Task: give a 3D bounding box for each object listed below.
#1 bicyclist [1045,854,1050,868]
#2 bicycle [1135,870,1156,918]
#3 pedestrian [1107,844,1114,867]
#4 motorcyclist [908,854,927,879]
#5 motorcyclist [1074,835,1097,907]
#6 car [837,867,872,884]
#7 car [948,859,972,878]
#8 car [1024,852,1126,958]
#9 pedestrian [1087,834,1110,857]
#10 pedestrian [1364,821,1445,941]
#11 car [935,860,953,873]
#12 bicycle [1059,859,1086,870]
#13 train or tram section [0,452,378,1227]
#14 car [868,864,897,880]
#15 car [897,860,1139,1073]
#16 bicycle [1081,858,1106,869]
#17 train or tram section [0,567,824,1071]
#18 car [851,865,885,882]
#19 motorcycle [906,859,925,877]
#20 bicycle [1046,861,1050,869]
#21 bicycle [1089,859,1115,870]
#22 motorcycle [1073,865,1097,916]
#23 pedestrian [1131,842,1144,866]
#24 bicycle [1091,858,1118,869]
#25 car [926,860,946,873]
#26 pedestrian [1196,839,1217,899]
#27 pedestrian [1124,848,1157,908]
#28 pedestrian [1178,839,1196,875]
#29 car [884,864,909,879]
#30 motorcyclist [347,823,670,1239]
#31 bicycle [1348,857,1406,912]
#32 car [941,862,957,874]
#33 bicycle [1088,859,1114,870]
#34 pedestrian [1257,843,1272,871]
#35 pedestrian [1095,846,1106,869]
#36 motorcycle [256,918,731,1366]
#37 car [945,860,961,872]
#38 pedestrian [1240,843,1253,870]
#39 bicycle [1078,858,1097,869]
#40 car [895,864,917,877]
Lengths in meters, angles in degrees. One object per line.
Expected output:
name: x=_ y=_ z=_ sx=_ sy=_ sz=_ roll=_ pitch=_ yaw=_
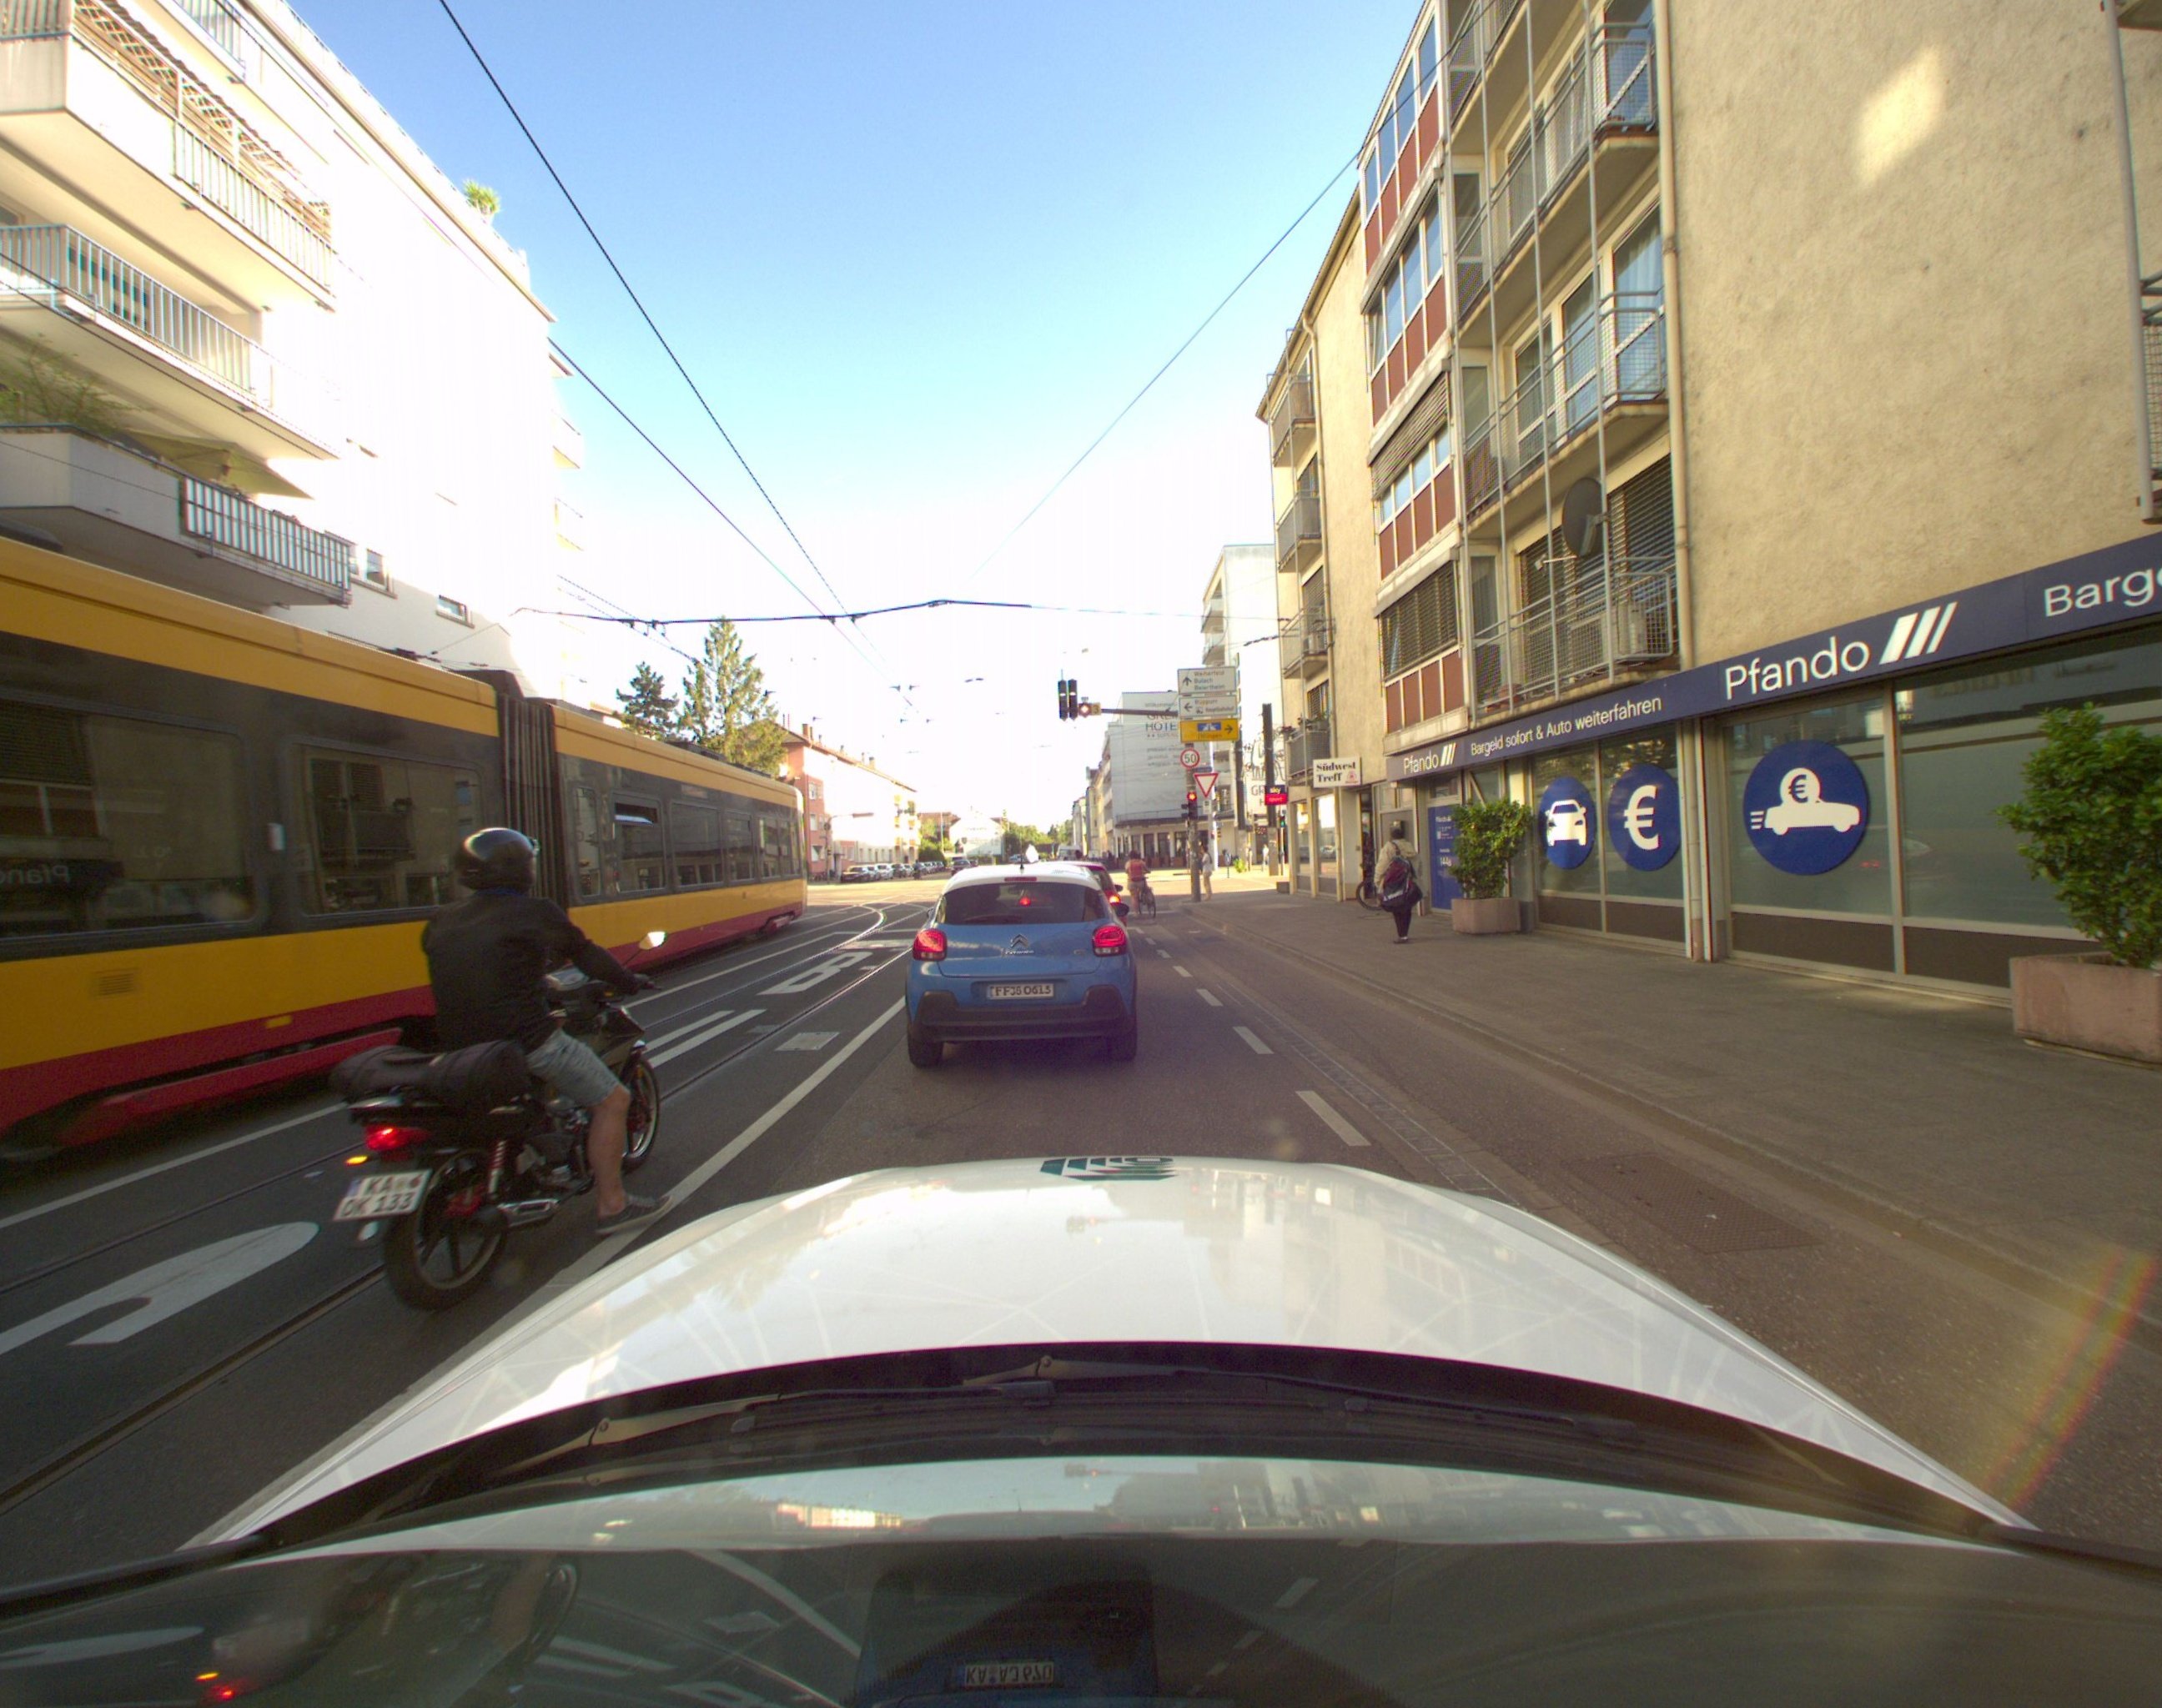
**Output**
bicyclist: x=-3.726 y=0.783 z=90.816 sx=0.560 sy=1.477 sz=0.747 roll=0 pitch=-1 yaw=-4
bicycle: x=1.614 y=0.976 z=20.578 sx=0.426 sy=1.123 sz=1.999 roll=0 pitch=-1 yaw=2
pedestrian: x=2.549 y=0.144 z=70.395 sx=0.575 sy=2.014 sz=0.625 roll=0 pitch=-1 yaw=-1
motorcyclist: x=-13.608 y=1.066 z=67.780 sx=1.182 sy=2.013 sz=1.275 roll=-2 pitch=0 yaw=-1
motorcyclist: x=0.121 y=0.403 z=19.759 sx=0.524 sy=1.716 sz=0.717 roll=0 pitch=-1 yaw=2
car: x=-19.276 y=1.814 z=69.420 sx=1.787 sy=1.421 sz=3.996 roll=0 pitch=-1 yaw=1
car: x=-11.366 y=1.342 z=76.854 sx=1.770 sy=1.666 sz=3.854 roll=0 pitch=-1 yaw=-2
car: x=-0.038 y=0.753 z=13.243 sx=1.419 sy=1.467 sz=2.925 roll=-2 pitch=-1 yaw=2
pedestrian: x=1.633 y=-0.728 z=73.699 sx=1.986 sy=2.014 sz=4.001 roll=0 pitch=-1 yaw=2
pedestrian: x=4.444 y=0.365 z=11.233 sx=0.822 sy=1.593 sz=0.751 roll=0 pitch=-1 yaw=1
car: x=-18.856 y=1.681 z=111.992 sx=1.877 sy=1.687 sz=3.998 roll=0 pitch=-1 yaw=-1
bicycle: x=-0.705 y=0.877 z=66.379 sx=2.130 sy=0.901 sz=0.366 roll=0 pitch=-1 yaw=-7
train or tram section: x=-6.387 y=-0.075 z=1.341 sx=2.818 sy=3.631 sz=9.076 roll=0 pitch=0 yaw=-2
car: x=-19.425 y=1.743 z=79.937 sx=1.781 sy=1.511 sz=4.150 roll=0 pitch=-1 yaw=1
car: x=-0.375 y=0.781 z=7.308 sx=1.648 sy=1.444 sz=3.524 roll=0 pitch=-1 yaw=2
bicycle: x=1.053 y=0.820 z=68.494 sx=2.130 sy=0.901 sz=0.366 roll=0 pitch=-1 yaw=-7
train or tram section: x=-7.101 y=-0.206 z=13.106 sx=2.741 sy=3.632 sz=14.235 roll=0 pitch=0 yaw=-6
car: x=-19.367 y=1.784 z=74.244 sx=1.808 sy=1.498 sz=4.302 roll=0 pitch=0 yaw=2
motorcycle: x=-13.660 y=1.147 z=67.340 sx=0.921 sy=1.486 sz=3.724 roll=0 pitch=-1 yaw=-1
bicycle: x=-3.741 y=1.199 z=91.083 sx=0.347 sy=0.903 sz=1.859 roll=0 pitch=-1 yaw=0
bicycle: x=1.748 y=0.866 z=67.355 sx=2.130 sy=0.901 sz=0.366 roll=0 pitch=-1 yaw=-7
motorcycle: x=0.114 y=0.836 z=19.567 sx=0.524 sy=1.139 sz=2.290 roll=0 pitch=-1 yaw=2
pedestrian: x=4.683 y=0.024 z=67.416 sx=0.715 sy=2.014 sz=0.750 roll=0 pitch=-1 yaw=-42
bicycle: x=1.917 y=0.769 z=66.020 sx=2.130 sy=0.901 sz=0.366 roll=0 pitch=-1 yaw=-7
car: x=-19.010 y=1.677 z=107.012 sx=1.978 sy=1.687 sz=3.998 roll=0 pitch=-1 yaw=-1
pedestrian: x=3.725 y=0.440 z=24.238 sx=0.515 sy=1.783 sz=0.595 roll=0 pitch=-1 yaw=0
pedestrian: x=1.482 y=0.586 z=20.328 sx=0.774 sy=1.460 sz=0.682 roll=0 pitch=-1 yaw=1
pedestrian: x=6.093 y=0.171 z=46.929 sx=0.922 sy=2.014 sz=0.760 roll=0 pitch=-1 yaw=1
car: x=-19.622 y=1.814 z=86.744 sx=1.781 sy=1.498 sz=3.998 roll=0 pitch=-1 yaw=-1
motorcyclist: x=-2.229 y=0.645 z=3.257 sx=0.857 sy=1.505 sz=0.598 roll=0 pitch=-1 yaw=1
bicycle: x=5.694 y=0.571 z=15.736 sx=0.540 sy=0.998 sz=1.706 roll=0 pitch=-1 yaw=2
car: x=-18.989 y=2.033 z=117.319 sx=1.828 sy=1.687 sz=3.998 roll=0 pitch=-1 yaw=-1
bicycle: x=1.696 y=0.840 z=67.796 sx=2.130 sy=0.901 sz=0.366 roll=0 pitch=-1 yaw=-7
pedestrian: x=10.932 y=0.184 z=48.503 sx=0.749 sy=1.657 sz=0.884 roll=0 pitch=-1 yaw=3
pedestrian: x=1.697 y=0.297 z=69.342 sx=0.635 sy=2.014 sz=0.717 roll=0 pitch=-1 yaw=-34
motorcycle: x=-2.221 y=0.957 z=3.478 sx=0.535 sy=1.219 sz=1.982 roll=0 pitch=-1 yaw=2
car: x=-19.144 y=1.764 z=121.976 sx=1.841 sy=1.687 sz=3.872 roll=0 pitch=-1 yaw=-1
pedestrian: x=10.257 y=0.155 z=50.408 sx=0.732 sy=1.601 sz=0.750 roll=0 pitch=-1 yaw=7
bicycle: x=0.558 y=0.819 z=69.478 sx=1.765 sy=0.901 sz=0.369 roll=-1 pitch=-1 yaw=36
car: x=-19.917 y=1.850 z=92.808 sx=1.728 sy=1.498 sz=3.996 roll=0 pitch=-1 yaw=-2
